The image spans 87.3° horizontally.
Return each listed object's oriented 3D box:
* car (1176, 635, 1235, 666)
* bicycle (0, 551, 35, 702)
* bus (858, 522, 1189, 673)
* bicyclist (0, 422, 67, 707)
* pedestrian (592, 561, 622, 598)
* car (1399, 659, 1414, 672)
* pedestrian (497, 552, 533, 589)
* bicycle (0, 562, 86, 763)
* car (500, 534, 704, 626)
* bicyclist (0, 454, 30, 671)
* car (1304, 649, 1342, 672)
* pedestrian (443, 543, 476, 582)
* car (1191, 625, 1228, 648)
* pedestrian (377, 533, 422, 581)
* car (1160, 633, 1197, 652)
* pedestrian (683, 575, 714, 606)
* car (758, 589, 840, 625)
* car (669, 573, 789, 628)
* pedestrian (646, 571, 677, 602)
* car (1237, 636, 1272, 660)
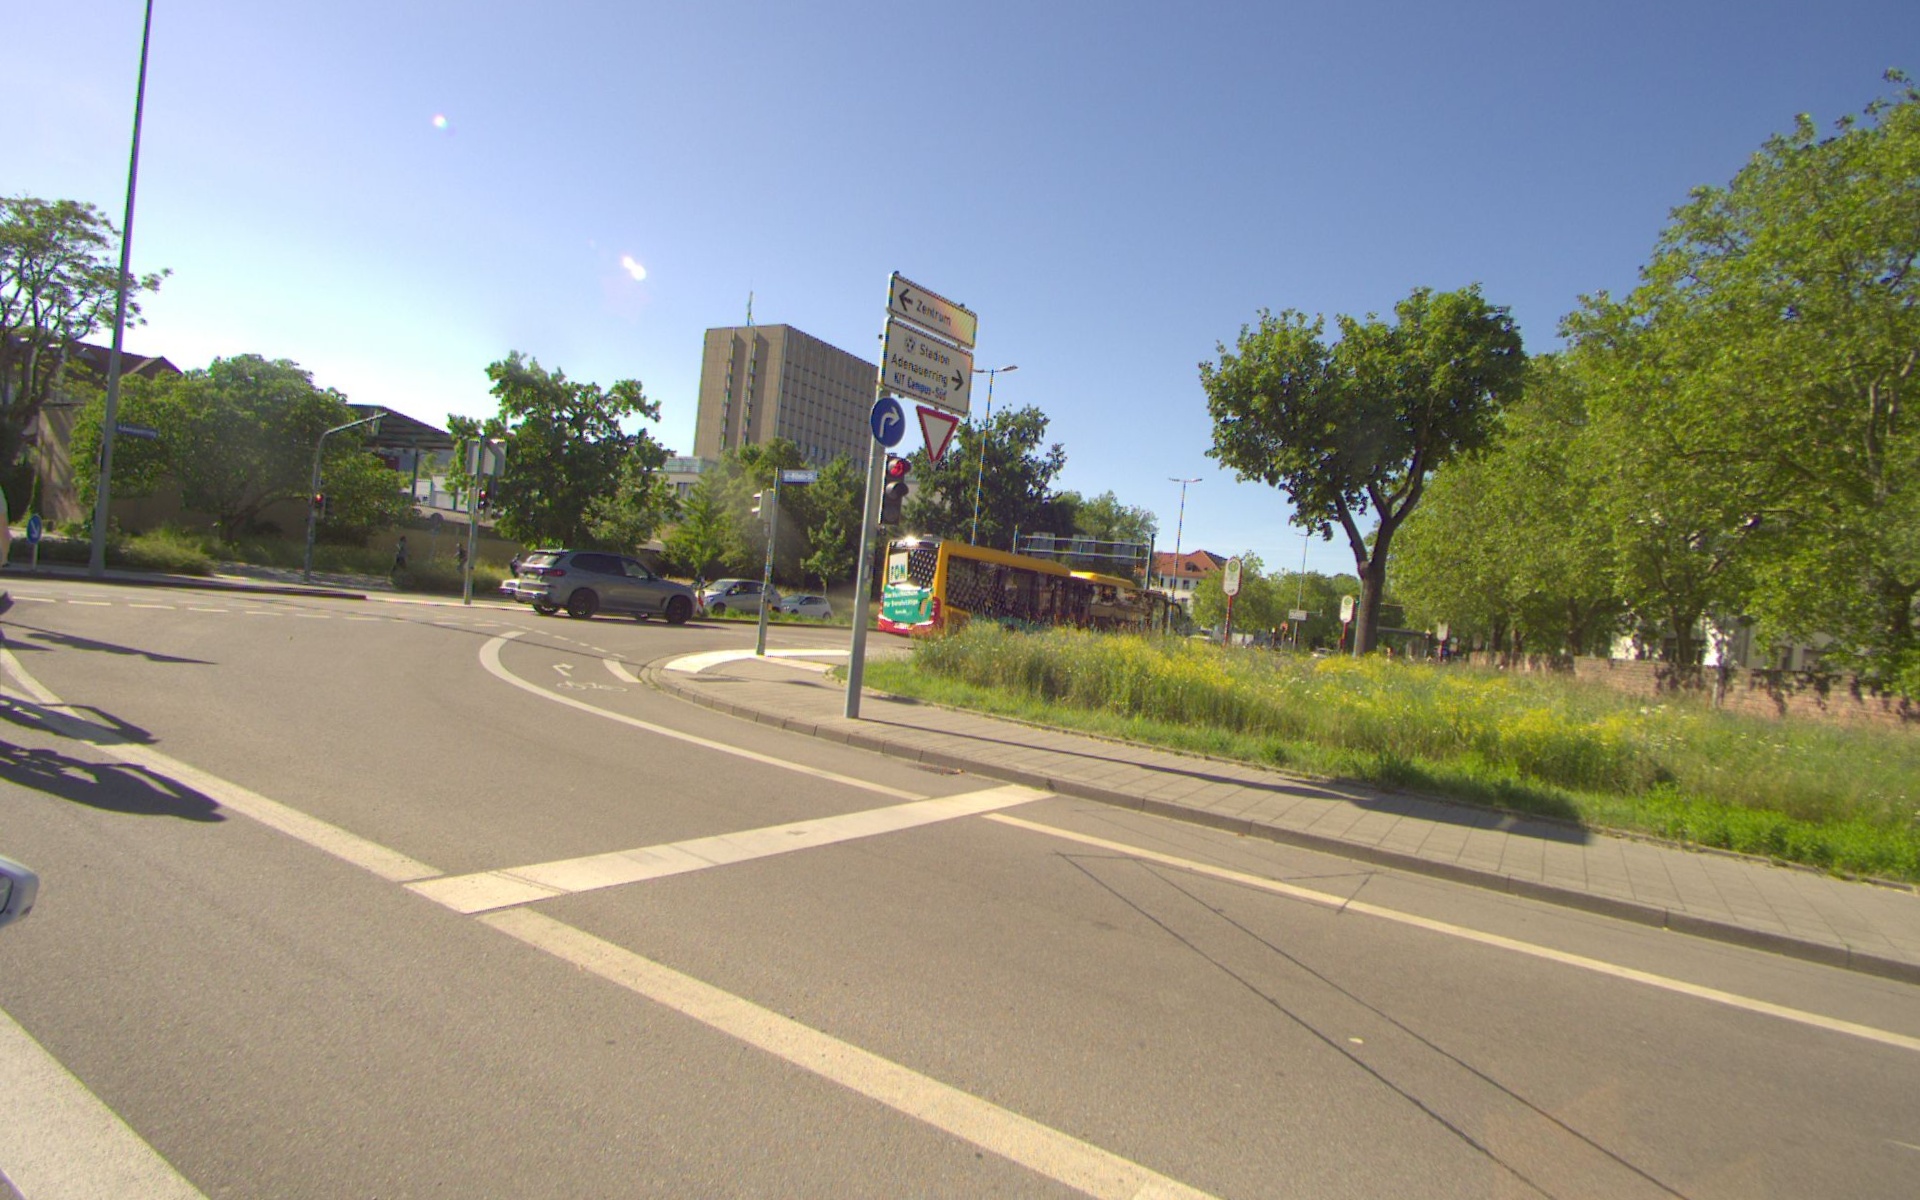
[{"bbox_3d":[13.738,2.852,56.096,1.732,1.390,3.987,7,0,36],"label":"car"},{"bbox_3d":[-7.796,0.099,7.549,1.813,1.063,0.672,6,-1,31],"label":"bicycle"},{"bbox_3d":[2.612,0.157,33.194,12.389,3.614,3.208,7,0,-45],"label":"bus"},{"bbox_3d":[-6.129,-0.250,6.089,0.851,1.695,0.741,7,1,30],"label":"bicyclist"},{"bbox_3d":[-17.887,-1.039,51.021,0.912,1.754,0.962,7,1,38],"label":"pedestrian"},{"bbox_3d":[63.578,9.301,143.090,1.711,1.535,3.996,7,0,25],"label":"car"},{"bbox_3d":[-20.517,-1.345,46.392,0.917,1.540,1.083,7,1,41],"label":"pedestrian"},{"bbox_3d":[-6.211,0.301,6.116,1.871,1.064,0.748,6,1,31],"label":"bicycle"},{"bbox_3d":[-9.489,-0.477,27.015,1.975,1.884,4.724,7,0,37],"label":"car"},{"bbox_3d":[-7.711,-0.346,7.537,1.063,1.601,0.675,7,-1,31],"label":"bicyclist"},{"bbox_3d":[27.696,4.609,76.759,1.862,1.419,3.850,3,-3,33],"label":"car"},{"bbox_3d":[-22.647,-1.680,45.516,0.979,1.625,0.816,6,1,-45],"label":"pedestrian"},{"bbox_3d":[25.390,3.708,102.311,1.968,1.966,4.834,7,0,35],"label":"car"},{"bbox_3d":[-23.783,-1.815,42.680,0.953,1.879,1.294,7,1,43],"label":"pedestrian"},{"bbox_3d":[19.322,3.784,88.743,1.967,1.378,4.001,5,-1,31],"label":"car"},{"bbox_3d":[-14.350,-0.542,55.259,0.975,1.540,1.129,7,1,35],"label":"pedestrian"},{"bbox_3d":[-8.351,0.394,52.388,1.785,1.509,3.952,4,-2,38],"label":"car"},{"bbox_3d":[-8.744,0.041,38.397,1.882,1.625,4.124,7,0,37],"label":"car"},{"bbox_3d":[-15.996,-0.720,53.865,0.927,1.540,1.145,7,1,38],"label":"pedestrian"},{"bbox_3d":[30.328,4.939,103.427,1.968,2.062,4.836,7,0,33],"label":"car"}]
